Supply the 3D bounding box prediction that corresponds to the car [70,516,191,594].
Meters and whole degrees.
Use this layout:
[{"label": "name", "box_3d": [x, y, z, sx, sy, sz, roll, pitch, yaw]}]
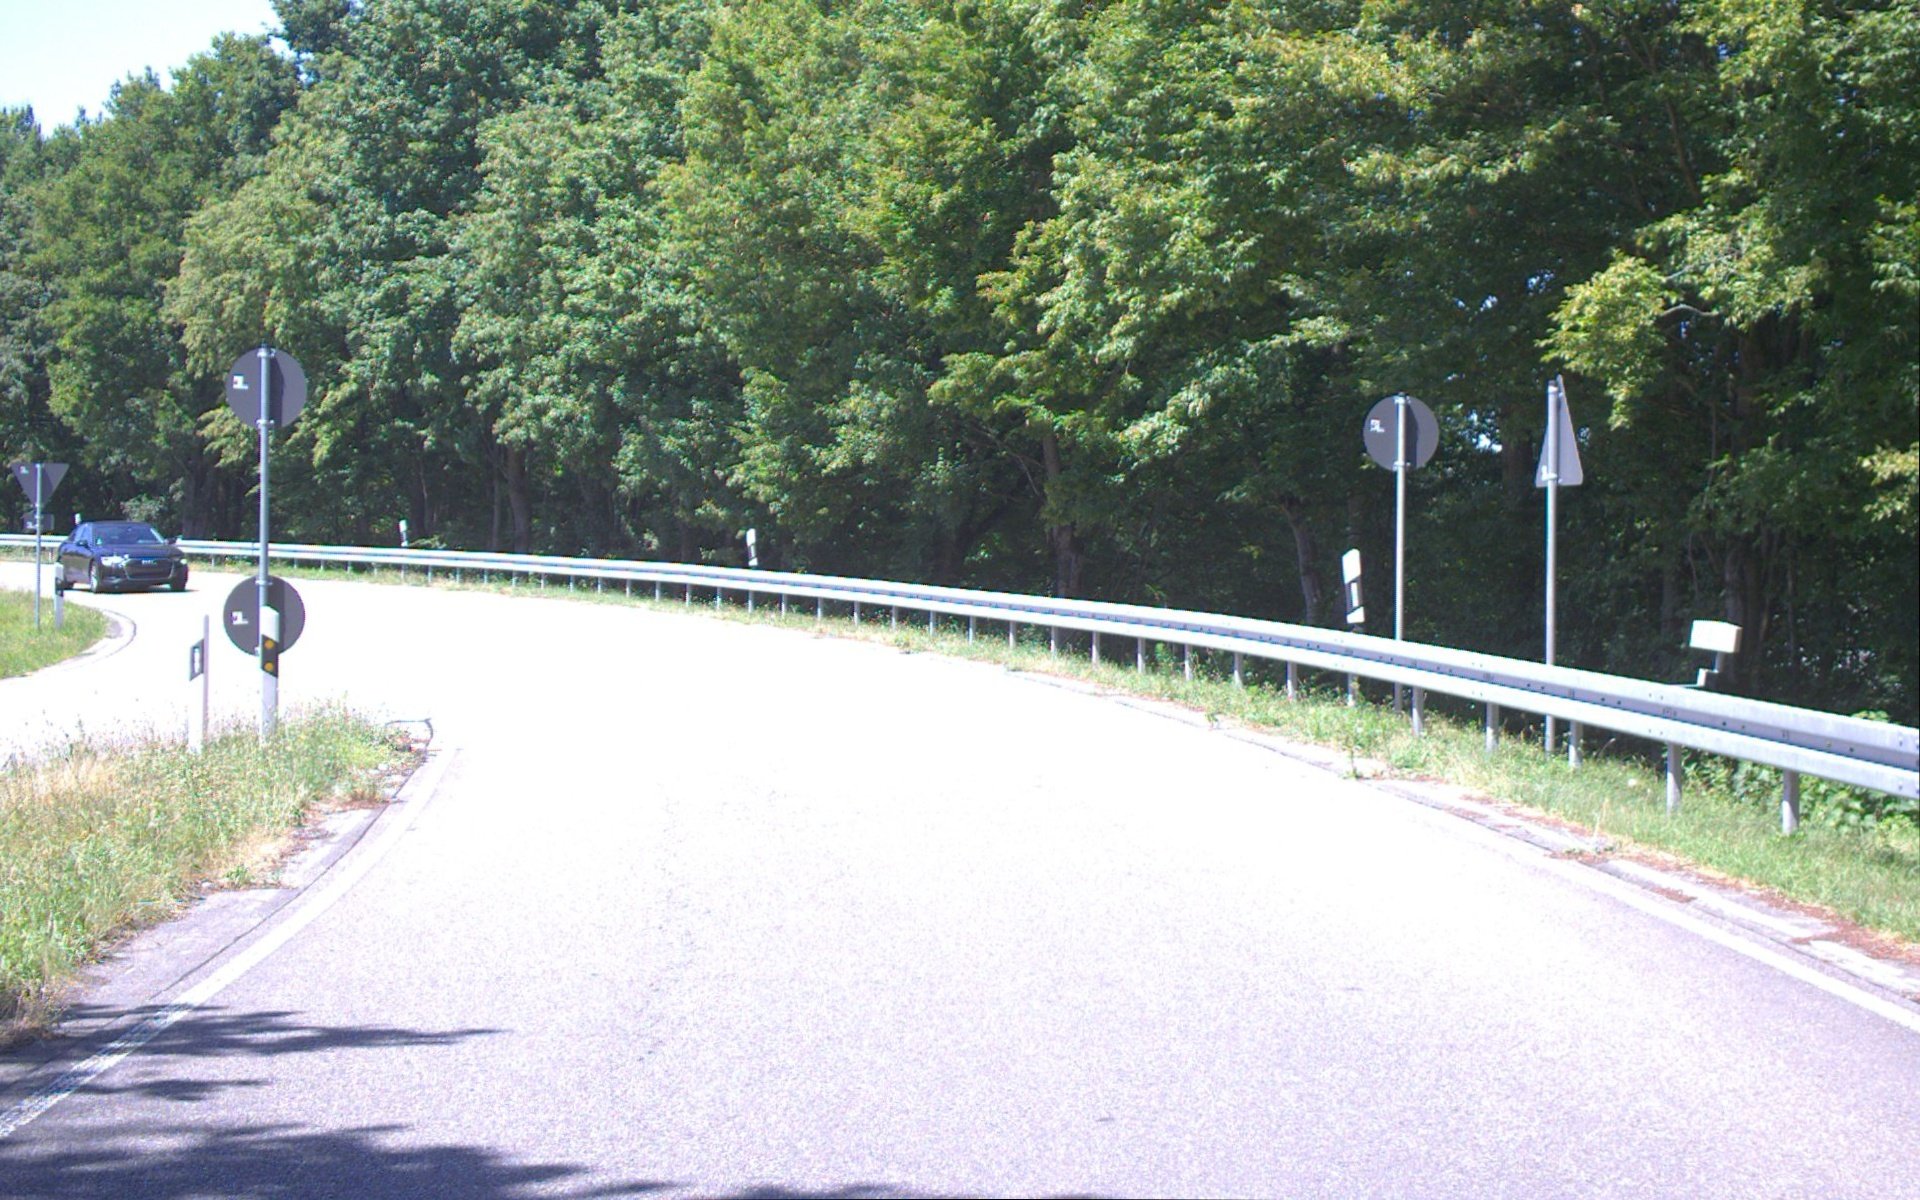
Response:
[{"label": "car", "box_3d": [-17.303, -0.939, 71.597, 1.802, 1.501, 4.659, -3, 2, -21]}]
